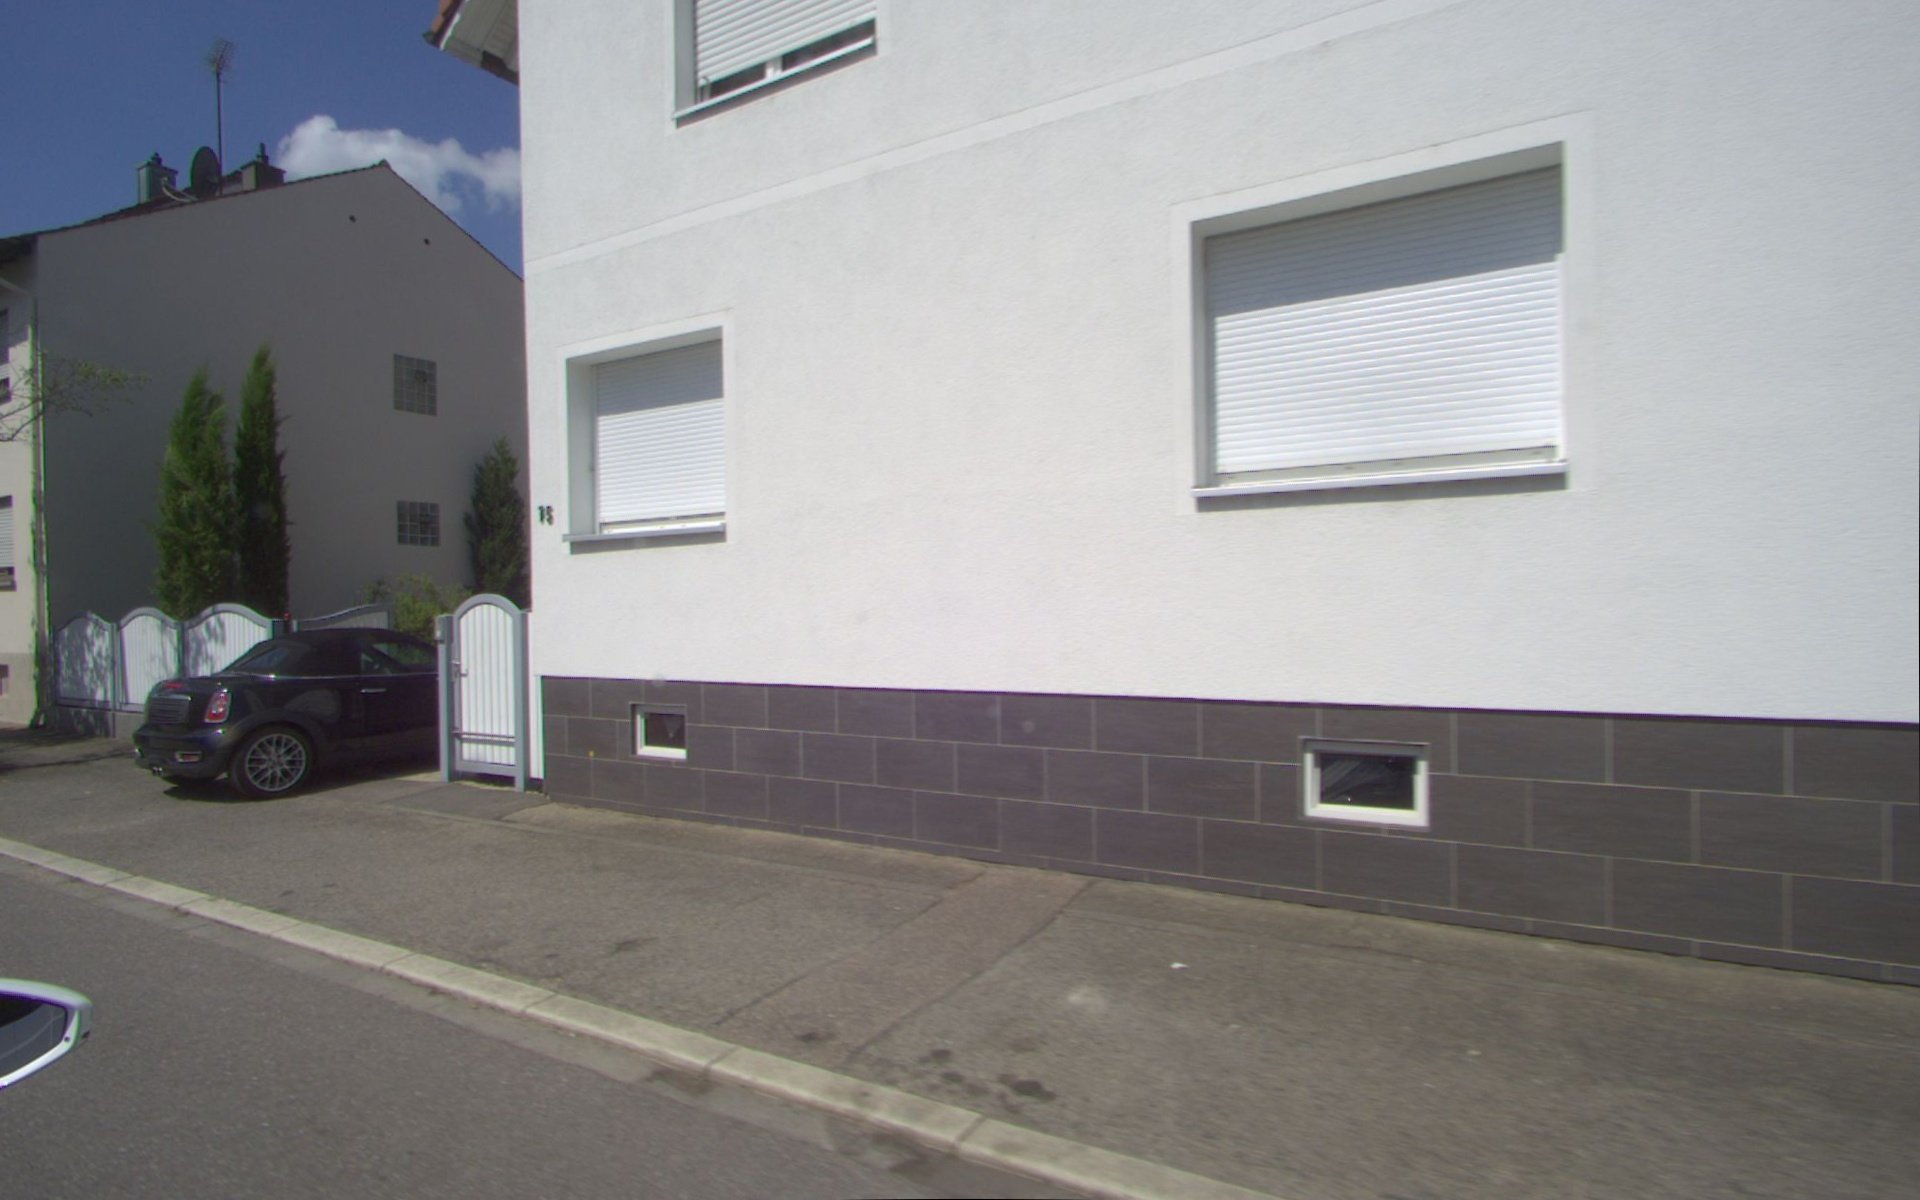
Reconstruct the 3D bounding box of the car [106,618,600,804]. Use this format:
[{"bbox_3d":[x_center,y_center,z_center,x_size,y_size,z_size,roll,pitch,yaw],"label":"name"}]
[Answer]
[{"bbox_3d":[-5.812,0.925,10.081,1.715,1.433,3.915,-1,-1,31],"label":"car"}]
